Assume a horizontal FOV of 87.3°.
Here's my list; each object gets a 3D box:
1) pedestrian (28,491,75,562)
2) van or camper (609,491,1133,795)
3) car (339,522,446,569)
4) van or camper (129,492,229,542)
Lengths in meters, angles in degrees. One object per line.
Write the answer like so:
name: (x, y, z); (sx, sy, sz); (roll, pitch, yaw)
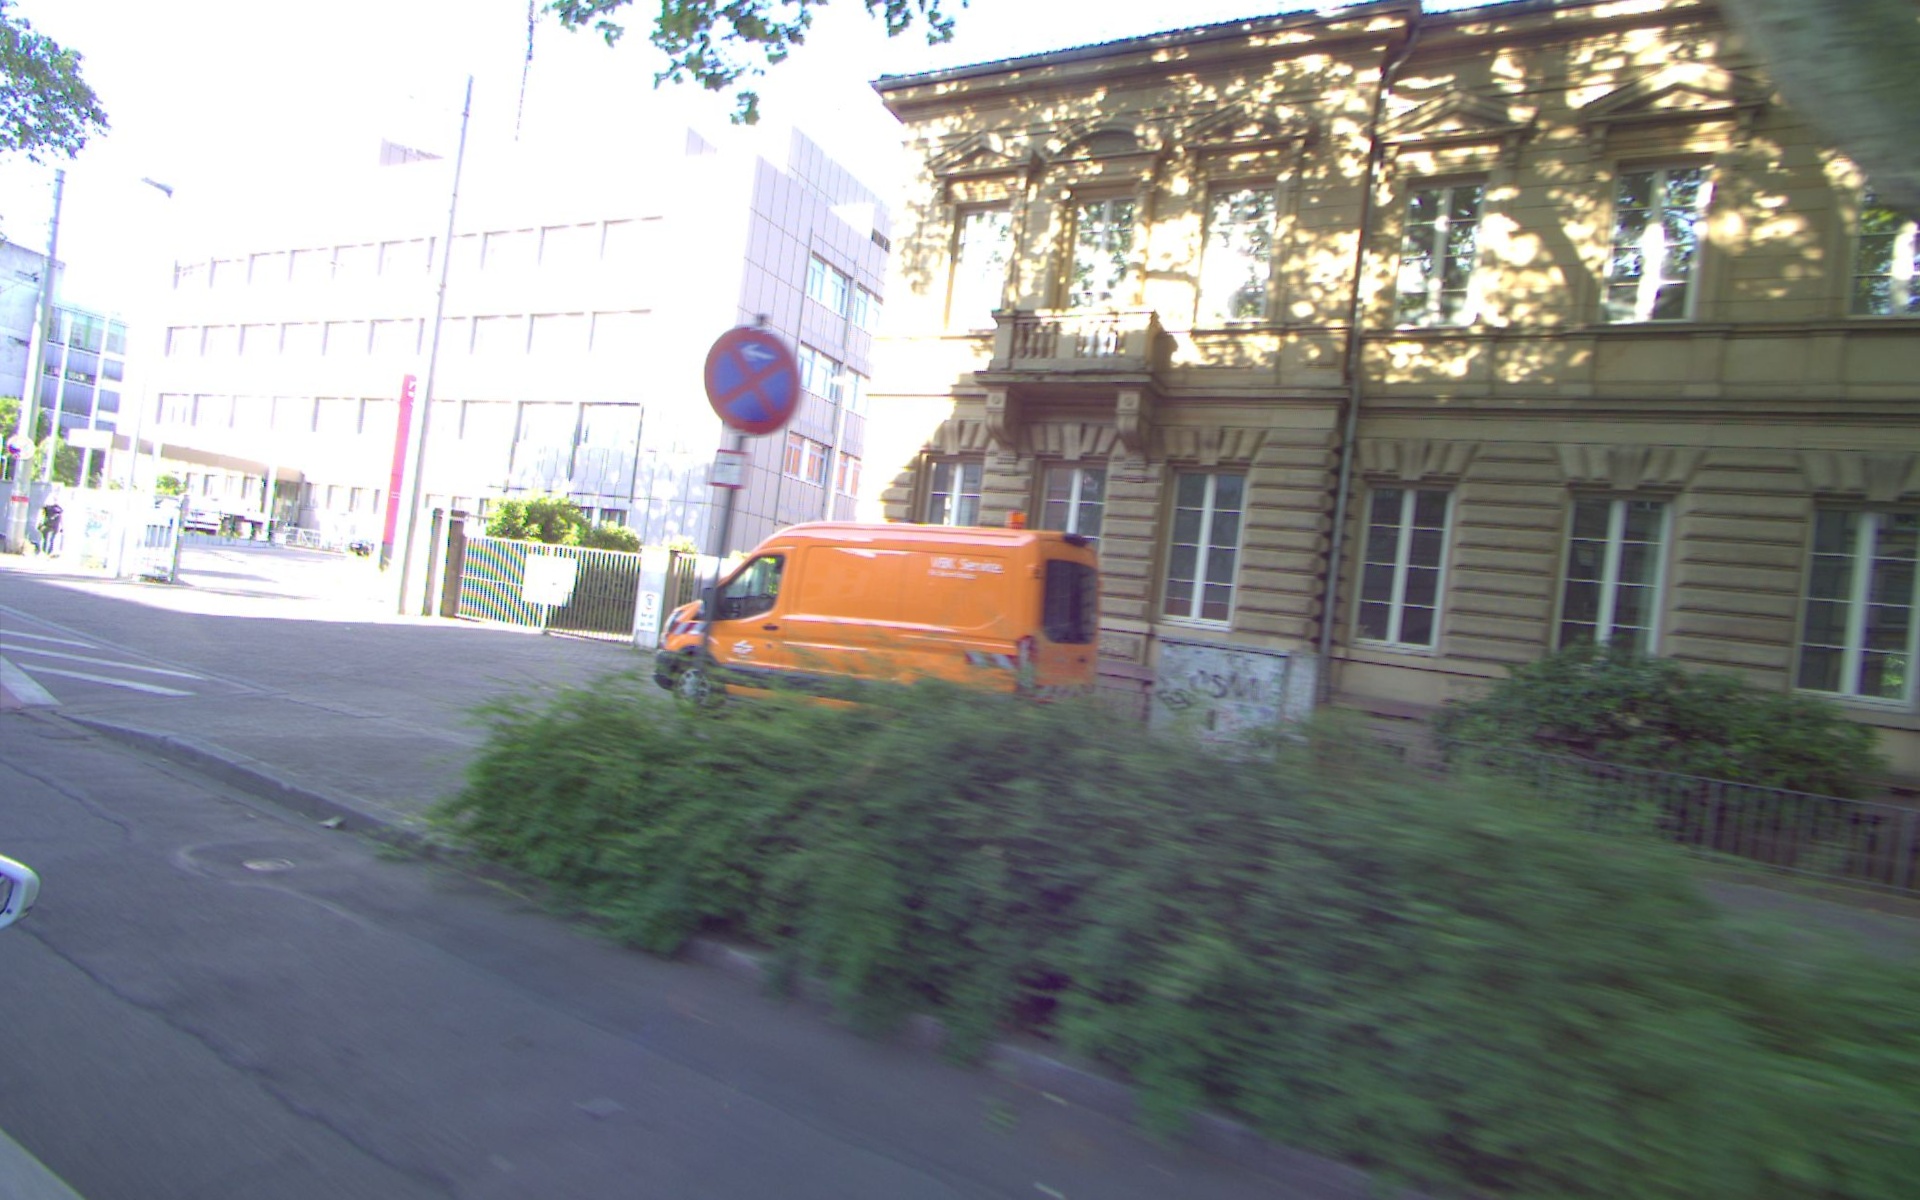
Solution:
pedestrian: (-23.368, -1.889, 25.867); (0.918, 1.704, 0.694); (7, 0, 44)
van or camper: (-1.166, 0.342, 11.735); (5.674, 2.590, 2.040); (7, -1, 29)
car: (-28.856, -2.745, 51.295); (1.958, 1.738, 4.263); (7, -1, 27)
van or camper: (-39.986, -4.239, 51.474); (4.912, 1.932, 1.985); (7, 0, 27)
